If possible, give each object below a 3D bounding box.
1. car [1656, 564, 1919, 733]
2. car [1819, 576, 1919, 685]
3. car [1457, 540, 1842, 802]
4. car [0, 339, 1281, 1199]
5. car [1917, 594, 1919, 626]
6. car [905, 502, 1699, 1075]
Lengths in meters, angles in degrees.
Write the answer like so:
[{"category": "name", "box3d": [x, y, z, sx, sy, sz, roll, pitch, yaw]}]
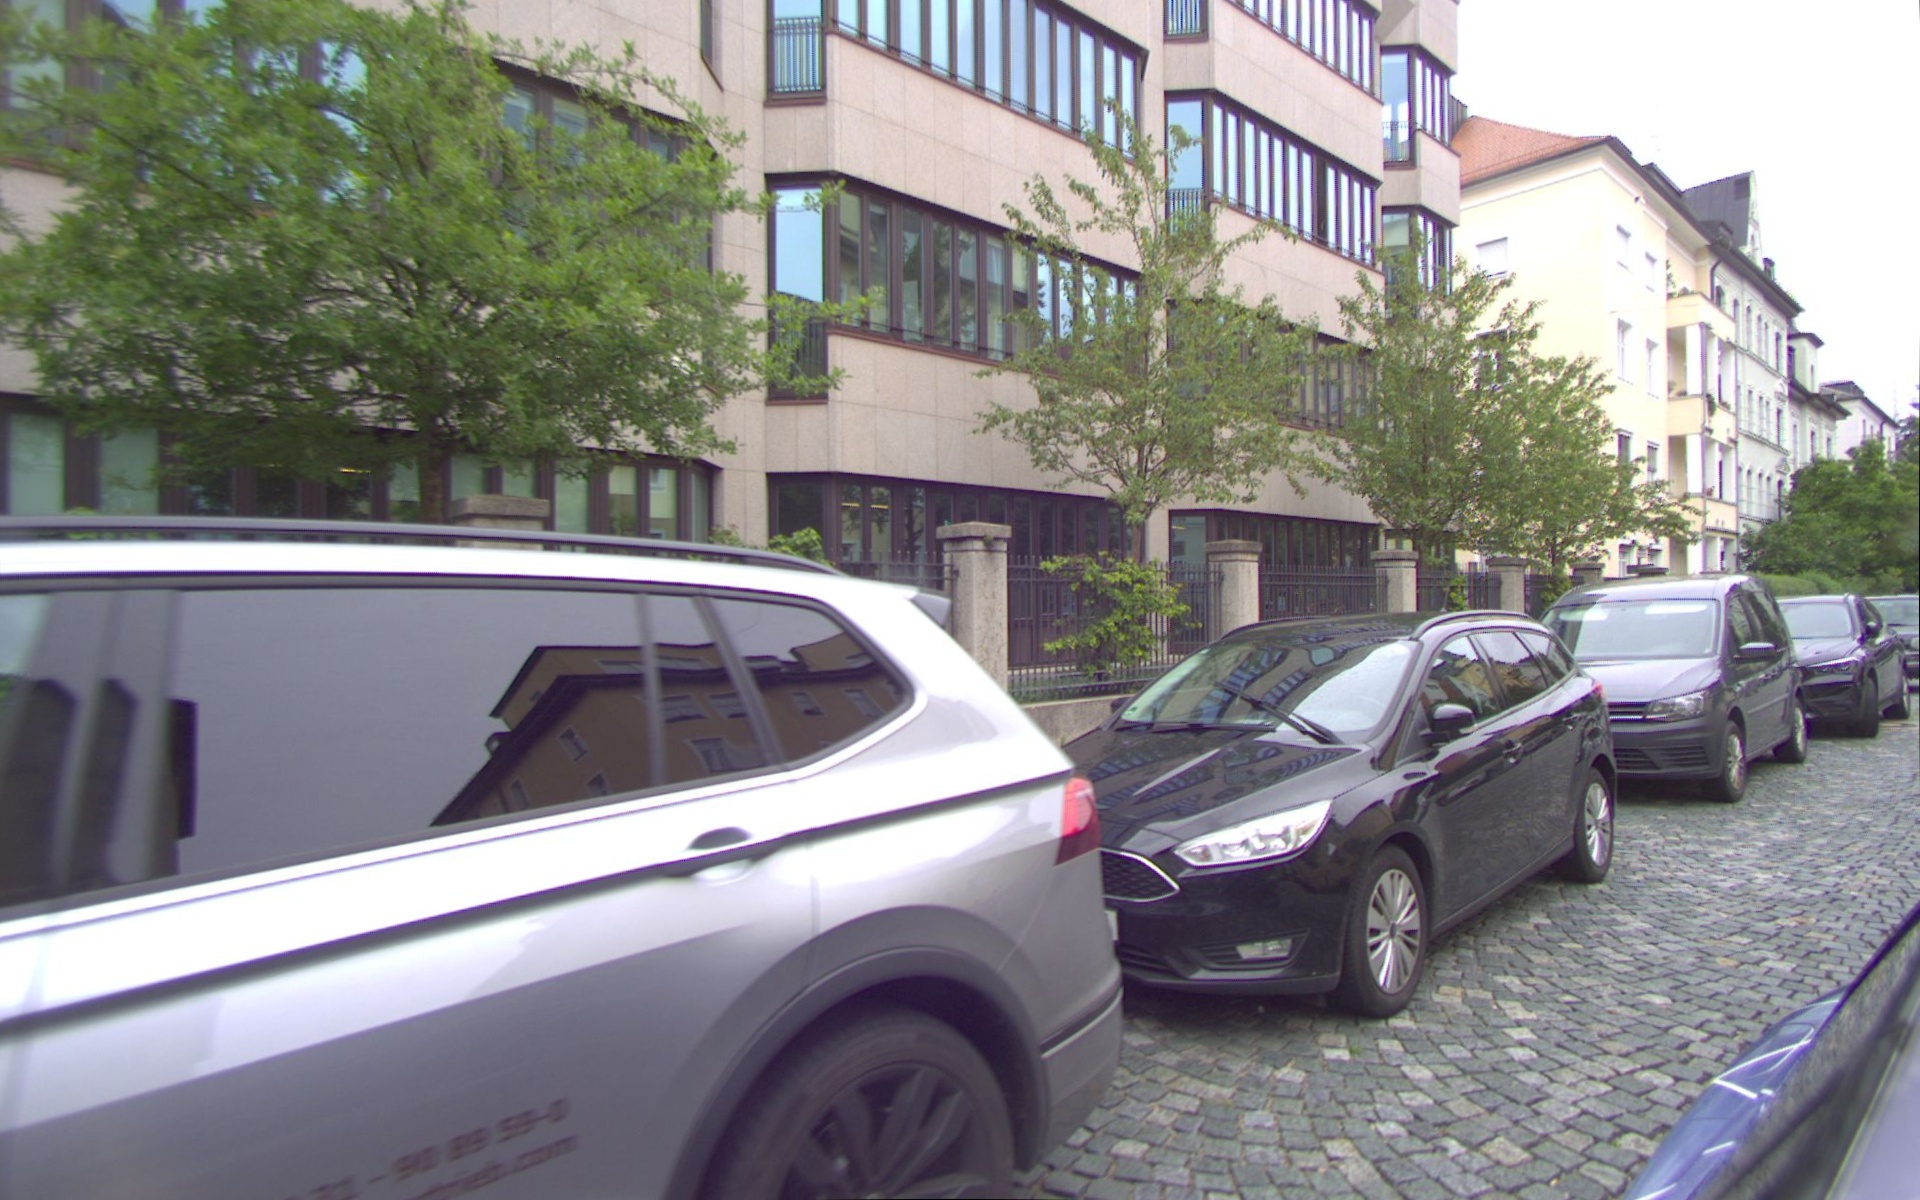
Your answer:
[{"category": "car", "box3d": [10.534, 0.534, 12.589, 4.729, 1.724, 1.863, -1, -3, -41]}, {"category": "car", "box3d": [16.818, 0.506, 18.099, 3.820, 1.774, 1.620, 0, -3, -42]}, {"category": "car", "box3d": [6.409, 0.540, 9.190, 4.432, 1.820, 1.789, 0, -4, -42]}, {"category": "car", "box3d": [-1.693, 0.645, 1.673, 4.804, 1.757, 1.876, -1, -2, -39]}, {"category": "car", "box3d": [28.760, 0.558, 28.549, 4.927, 1.572, 1.996, -1, -3, -41]}, {"category": "car", "box3d": [2.112, 0.622, 5.361, 4.578, 1.758, 1.875, 0, -4, -42]}]
